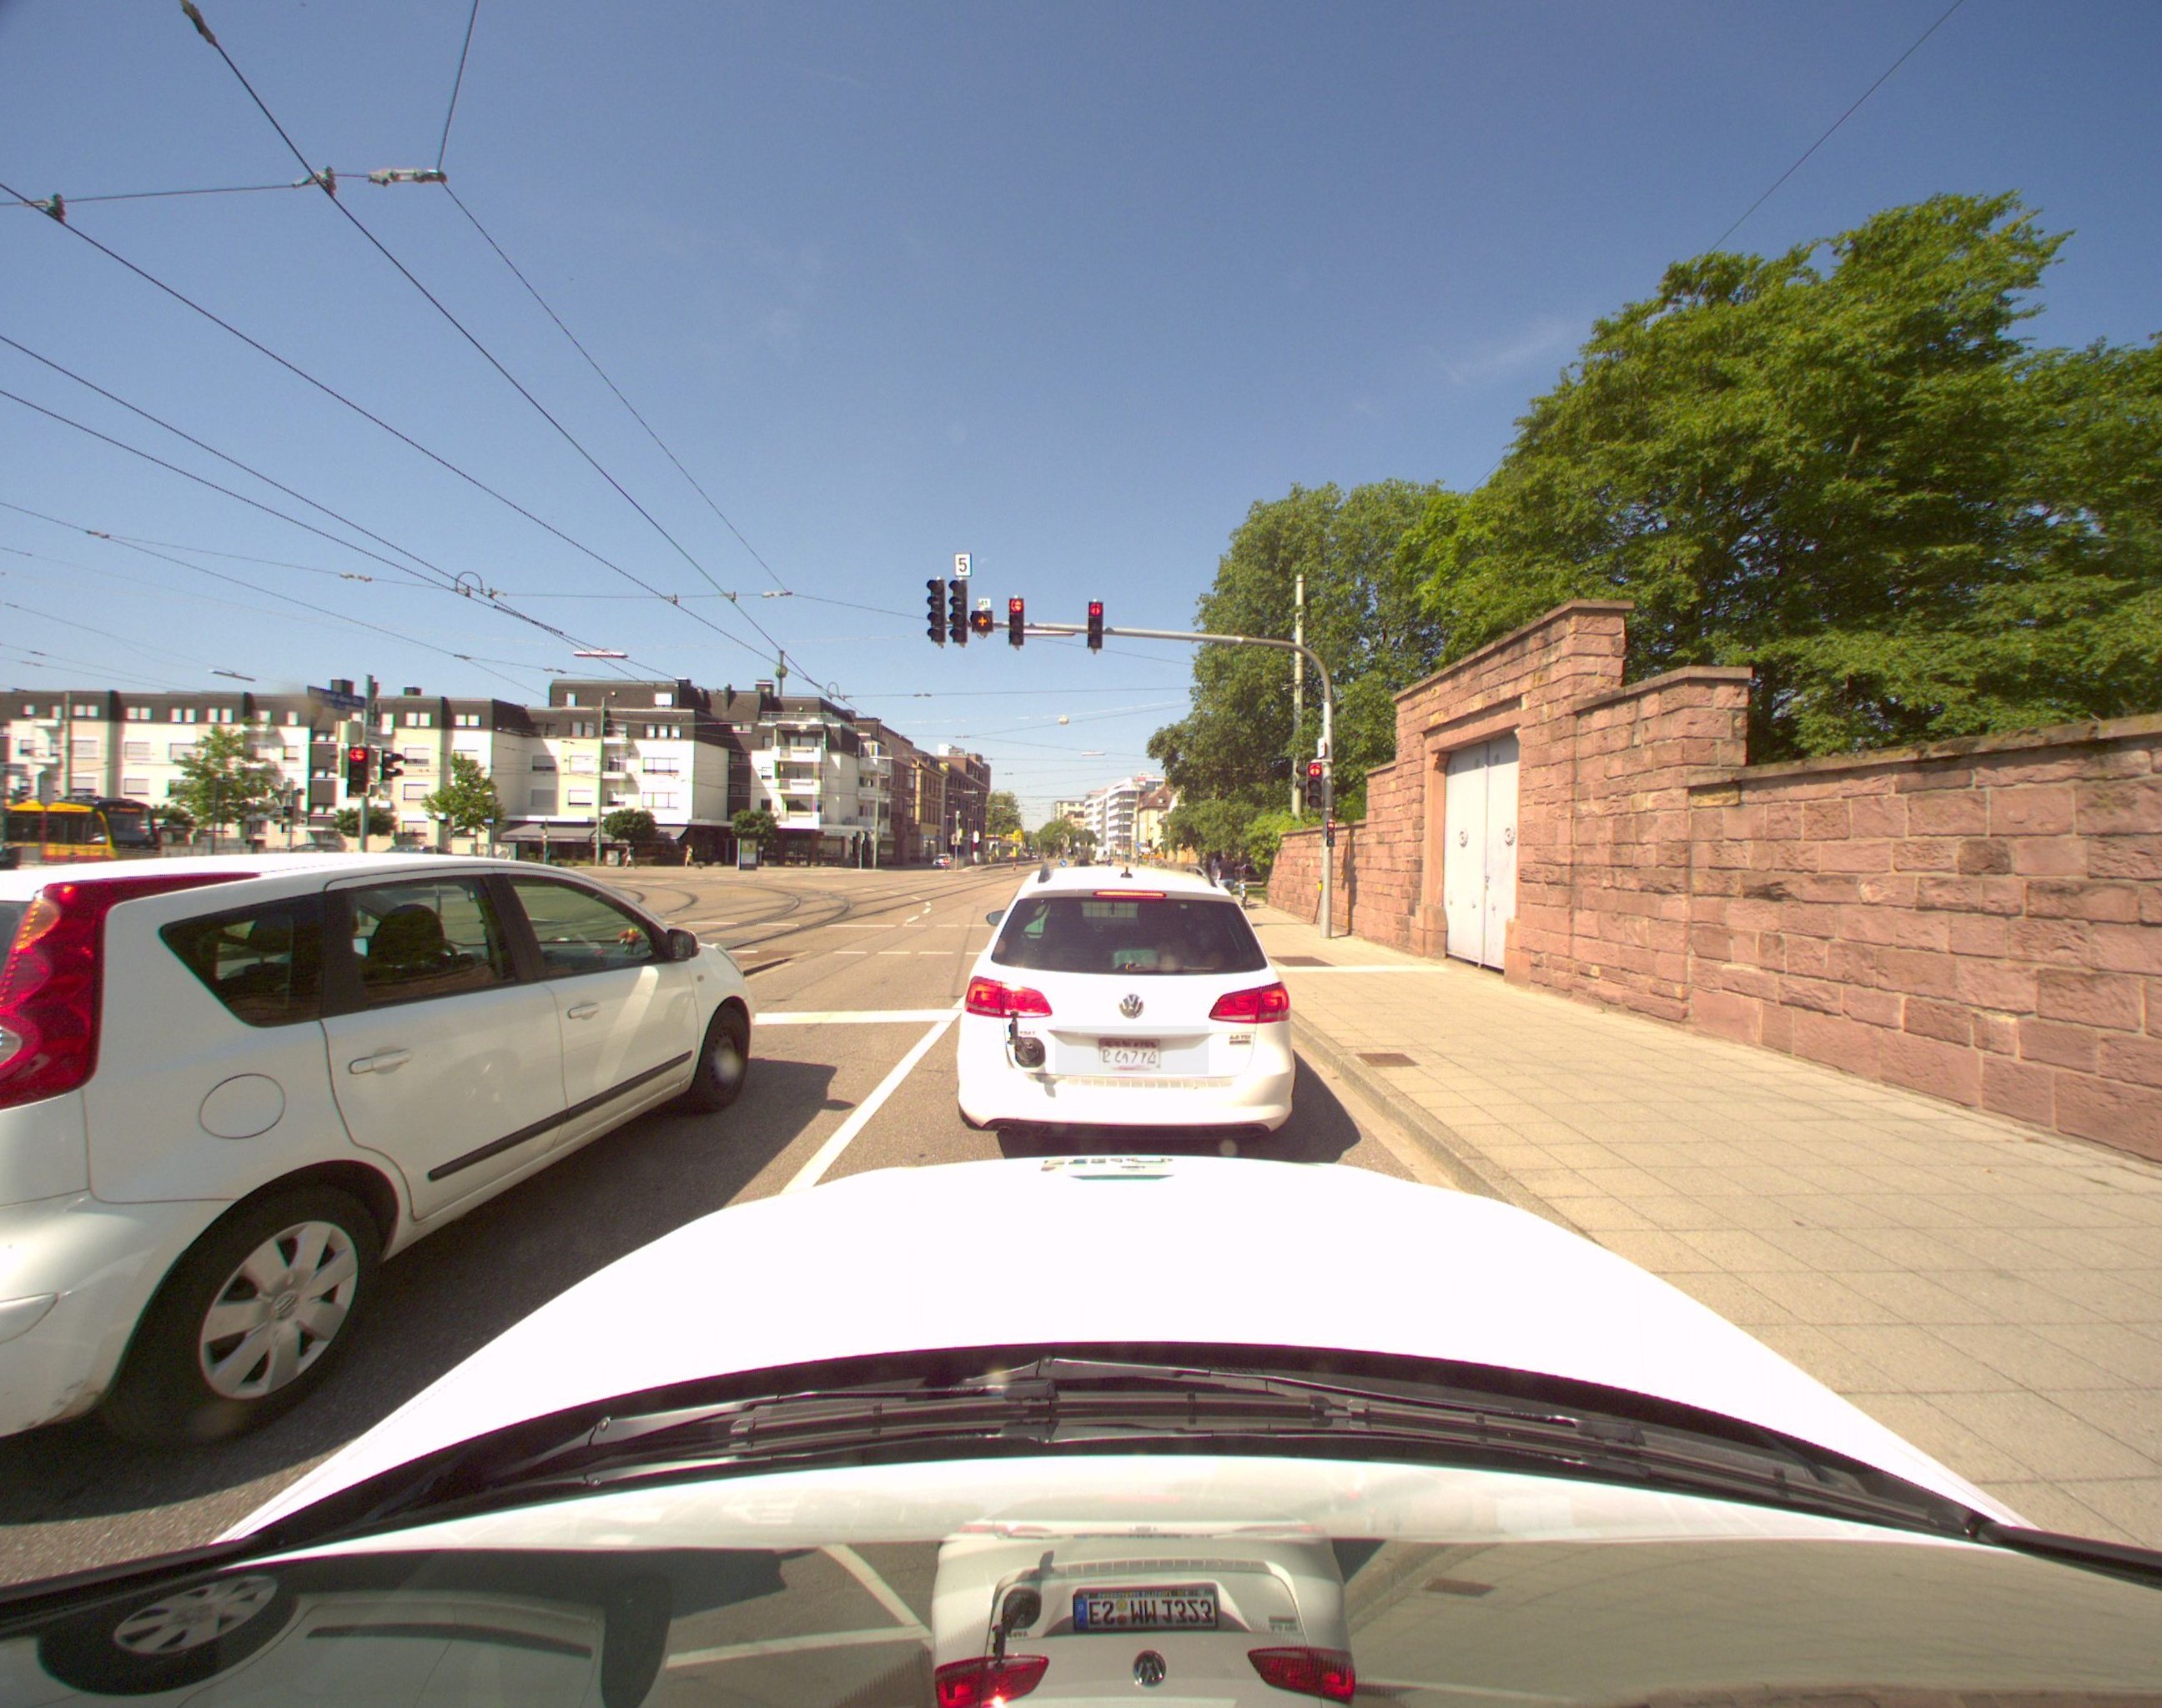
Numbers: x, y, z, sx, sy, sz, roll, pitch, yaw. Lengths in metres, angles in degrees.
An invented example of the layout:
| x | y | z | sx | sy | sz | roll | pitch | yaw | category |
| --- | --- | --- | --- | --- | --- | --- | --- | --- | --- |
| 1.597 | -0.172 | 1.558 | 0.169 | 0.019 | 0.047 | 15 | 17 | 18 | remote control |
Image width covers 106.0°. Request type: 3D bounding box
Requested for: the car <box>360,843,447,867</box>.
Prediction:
| x | y | z | sx | sy | sz | roll | pitch | yaw | category |
| --- | --- | --- | --- | --- | --- | --- | --- | --- | --- |
| -44.939 | 0.069 | 54.082 | 4.158 | 1.500 | 1.828 | 1 | 0 | 0 | car |

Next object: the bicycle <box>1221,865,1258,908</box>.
| x | y | z | sx | sy | sz | roll | pitch | yaw | category |
| --- | --- | --- | --- | --- | --- | --- | --- | --- | --- |
| 4.279 | 0.861 | 22.033 | 0.535 | 1.111 | 1.804 | 0 | -1 | -4 | bicycle |

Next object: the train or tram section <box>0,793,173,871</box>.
| x | y | z | sx | sy | sz | roll | pitch | yaw | category |
| --- | --- | --- | --- | --- | --- | --- | --- | --- | --- |
| -53.604 | -1.133 | 40.472 | 13.814 | 3.658 | 2.769 | 1 | 0 | 1 | train or tram section |

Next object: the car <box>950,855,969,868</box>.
| x | y | z | sx | sy | sz | roll | pitch | yaw | category |
| --- | --- | --- | --- | --- | --- | --- | --- | --- | --- |
| -13.411 | 0.807 | 90.176 | 1.568 | 1.459 | 3.811 | 1 | 0 | -2 | car |

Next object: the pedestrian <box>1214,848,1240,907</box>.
| x | y | z | sx | sy | sz | roll | pitch | yaw | category |
| --- | --- | --- | --- | --- | --- | --- | --- | --- | --- |
| 3.938 | 0.616 | 21.983 | 0.538 | 1.549 | 0.663 | -1 | 0 | 1 | pedestrian |

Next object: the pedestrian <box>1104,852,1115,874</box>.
| x | y | z | sx | sy | sz | roll | pitch | yaw | category |
| --- | --- | --- | --- | --- | --- | --- | --- | --- | --- |
| 2.490 | 0.773 | 70.165 | 0.826 | 1.809 | 0.831 | 1 | 0 | 7 | pedestrian |

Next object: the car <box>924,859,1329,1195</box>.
| x | y | z | sx | sy | sz | roll | pitch | yaw | category |
| --- | --- | --- | --- | --- | --- | --- | --- | --- | --- |
| 0.260 | 0.761 | 5.481 | 1.746 | 1.418 | 3.854 | 1 | 0 | 2 | car |

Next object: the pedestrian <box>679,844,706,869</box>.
| x | y | z | sx | sy | sz | roll | pitch | yaw | category |
| --- | --- | --- | --- | --- | --- | --- | --- | --- | --- |
| -28.299 | 0.181 | 59.316 | 1.447 | 1.836 | 1.109 | 1 | 0 | -45 | pedestrian |

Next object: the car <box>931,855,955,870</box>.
| x | y | z | sx | sy | sz | roll | pitch | yaw | category |
| --- | --- | --- | --- | --- | --- | --- | --- | --- | --- |
| -13.672 | 0.827 | 80.890 | 1.620 | 1.431 | 3.962 | 2 | 0 | 0 | car |

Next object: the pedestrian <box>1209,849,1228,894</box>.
| x | y | z | sx | sy | sz | roll | pitch | yaw | category |
| --- | --- | --- | --- | --- | --- | --- | --- | --- | --- |
| 5.133 | 0.647 | 30.474 | 0.646 | 1.682 | 0.709 | 1 | 0 | 7 | pedestrian |

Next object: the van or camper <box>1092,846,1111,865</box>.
| x | y | z | sx | sy | sz | roll | pitch | yaw | category |
| --- | --- | --- | --- | --- | --- | --- | --- | --- | --- |
| 3.485 | 0.289 | 138.267 | 2.932 | 3.180 | 6.618 | 1 | 0 | 3 | van or camper |

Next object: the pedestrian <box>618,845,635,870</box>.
| x | y | z | sx | sy | sz | roll | pitch | yaw | category |
| --- | --- | --- | --- | --- | --- | --- | --- | --- | --- |
| -31.728 | 0.225 | 56.808 | 0.754 | 1.760 | 0.816 | 0 | -1 | 42 | pedestrian |

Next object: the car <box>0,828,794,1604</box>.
| x | y | z | sx | sy | sz | roll | pitch | yaw | category |
| --- | --- | --- | --- | --- | --- | --- | --- | --- | --- |
| -2.959 | 0.736 | 3.690 | 1.759 | 1.561 | 4.068 | 0 | 0 | 2 | car |

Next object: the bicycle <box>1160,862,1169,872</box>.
| x | y | z | sx | sy | sz | roll | pitch | yaw | category |
| --- | --- | --- | --- | --- | --- | --- | --- | --- | --- |
| 9.282 | 1.426 | 90.383 | 0.720 | 1.139 | 2.203 | 1 | 0 | 14 | bicycle |

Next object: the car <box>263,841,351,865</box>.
| x | y | z | sx | sy | sz | roll | pitch | yaw | category |
| --- | --- | --- | --- | --- | --- | --- | --- | --- | --- |
| -51.206 | -0.077 | 53.929 | 3.973 | 1.500 | 1.828 | 1 | 0 | 0 | car |

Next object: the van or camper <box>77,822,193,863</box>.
| x | y | z | sx | sy | sz | roll | pitch | yaw | category |
| --- | --- | --- | --- | --- | --- | --- | --- | --- | --- |
| -62.656 | -0.748 | 54.005 | 4.859 | 2.624 | 2.376 | 1 | 0 | 0 | van or camper |

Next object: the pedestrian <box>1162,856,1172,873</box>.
| x | y | z | sx | sy | sz | roll | pitch | yaw | category |
| --- | --- | --- | --- | --- | --- | --- | --- | --- | --- |
| 8.059 | 0.986 | 76.180 | 0.850 | 1.510 | 0.785 | 1 | 0 | 14 | pedestrian |
